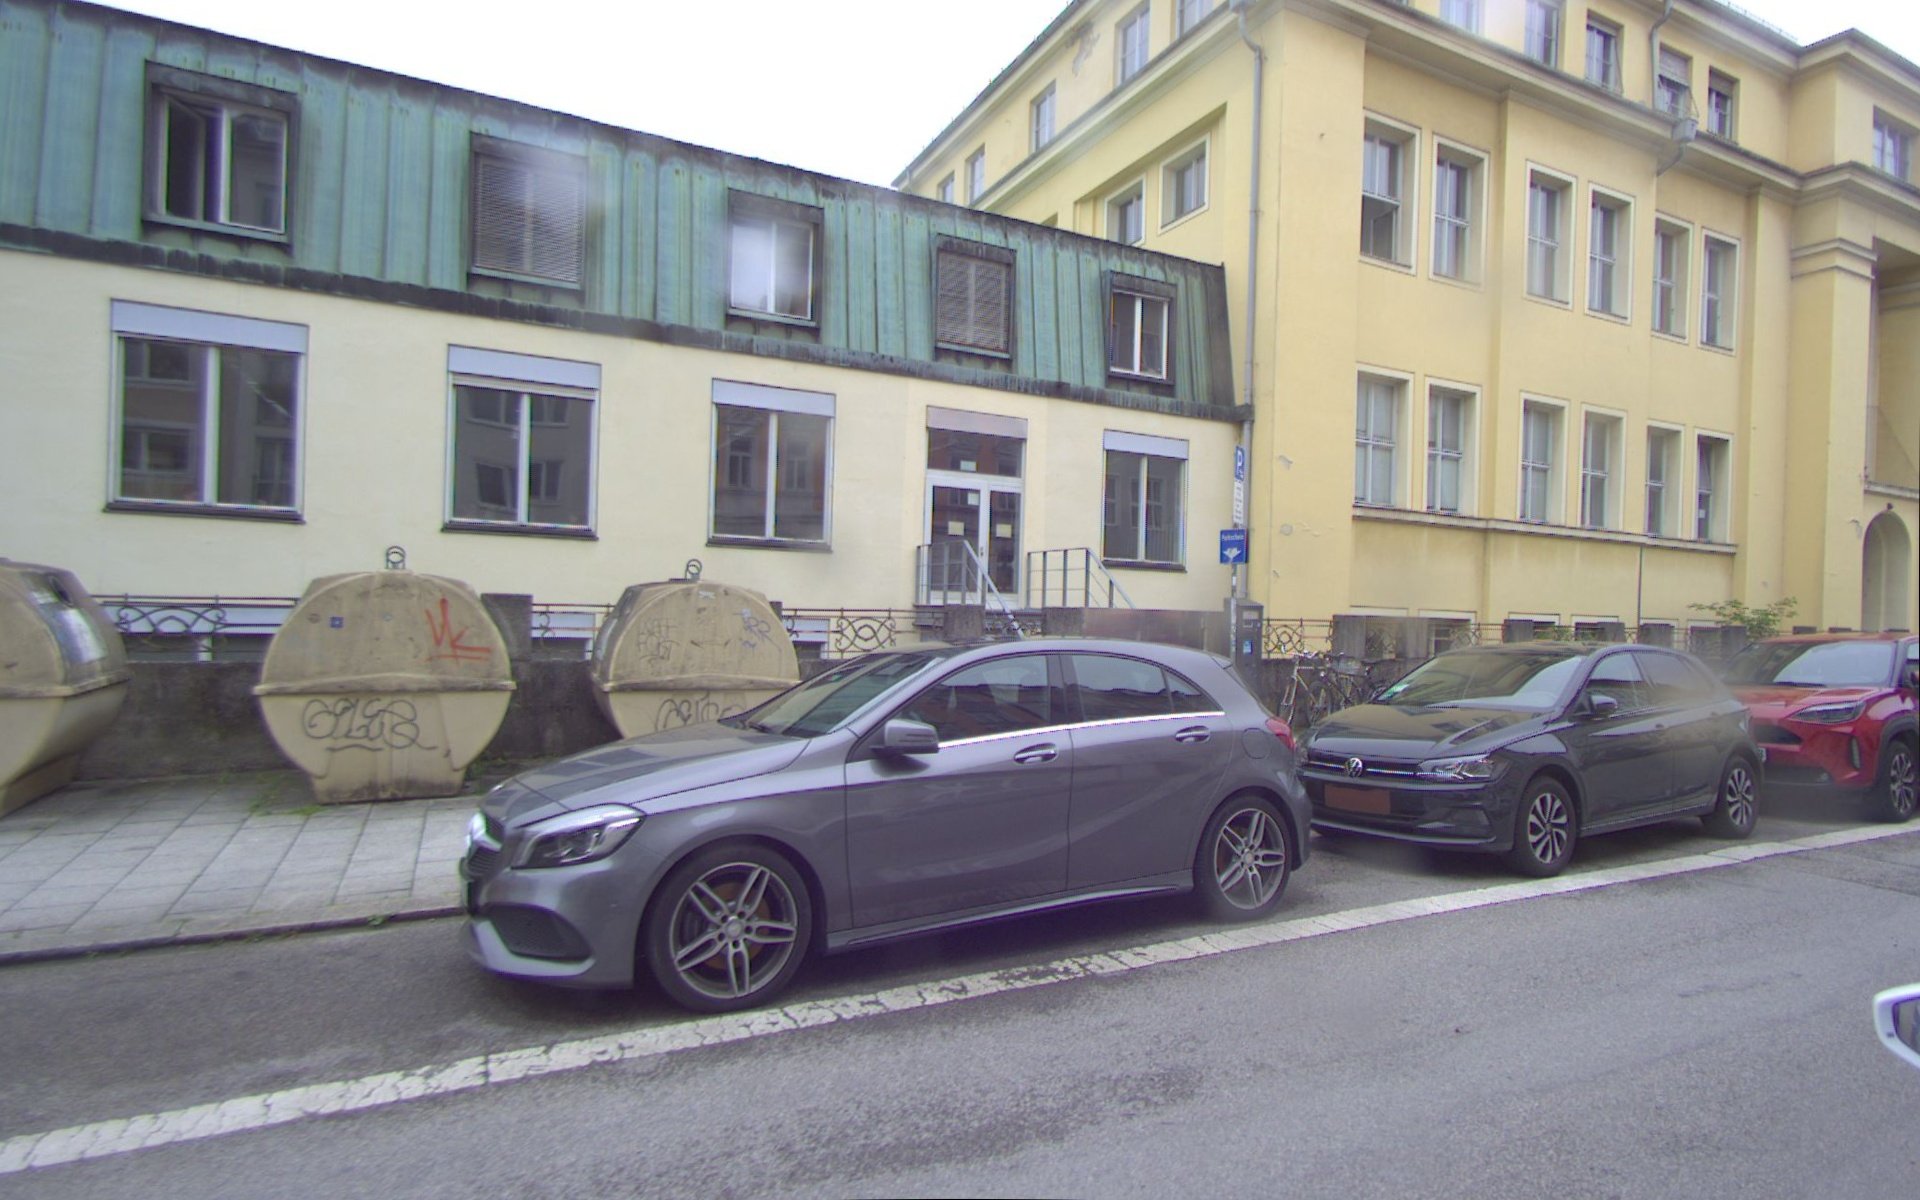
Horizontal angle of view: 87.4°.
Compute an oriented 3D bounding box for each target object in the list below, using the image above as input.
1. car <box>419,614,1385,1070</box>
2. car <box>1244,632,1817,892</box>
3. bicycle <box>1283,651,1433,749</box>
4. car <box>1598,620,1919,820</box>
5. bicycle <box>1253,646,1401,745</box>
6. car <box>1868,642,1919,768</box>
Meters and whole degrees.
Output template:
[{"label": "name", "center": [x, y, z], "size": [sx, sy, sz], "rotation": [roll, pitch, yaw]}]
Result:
[{"label": "car", "center": [-0.180, 0.894, 5.193], "size": [4.559, 1.437, 2.006], "rotation": [2, -4, -29]}, {"label": "car", "center": [4.282, 0.997, 7.387], "size": [4.304, 1.423, 1.741], "rotation": [2, -4, -30]}, {"label": "bicycle", "center": [5.122, 1.254, 12.875], "size": [2.079, 1.163, 0.533], "rotation": [2, -1, -27]}, {"label": "car", "center": [8.338, 1.024, 9.560], "size": [4.475, 1.501, 1.950], "rotation": [2, -4, -29]}, {"label": "bicycle", "center": [4.814, 1.221, 13.119], "size": [2.079, 1.201, 0.533], "rotation": [2, -1, -27]}, {"label": "car", "center": [13.267, 1.248, 12.259], "size": [4.607, 1.448, 1.787], "rotation": [2, -4, -29]}]
